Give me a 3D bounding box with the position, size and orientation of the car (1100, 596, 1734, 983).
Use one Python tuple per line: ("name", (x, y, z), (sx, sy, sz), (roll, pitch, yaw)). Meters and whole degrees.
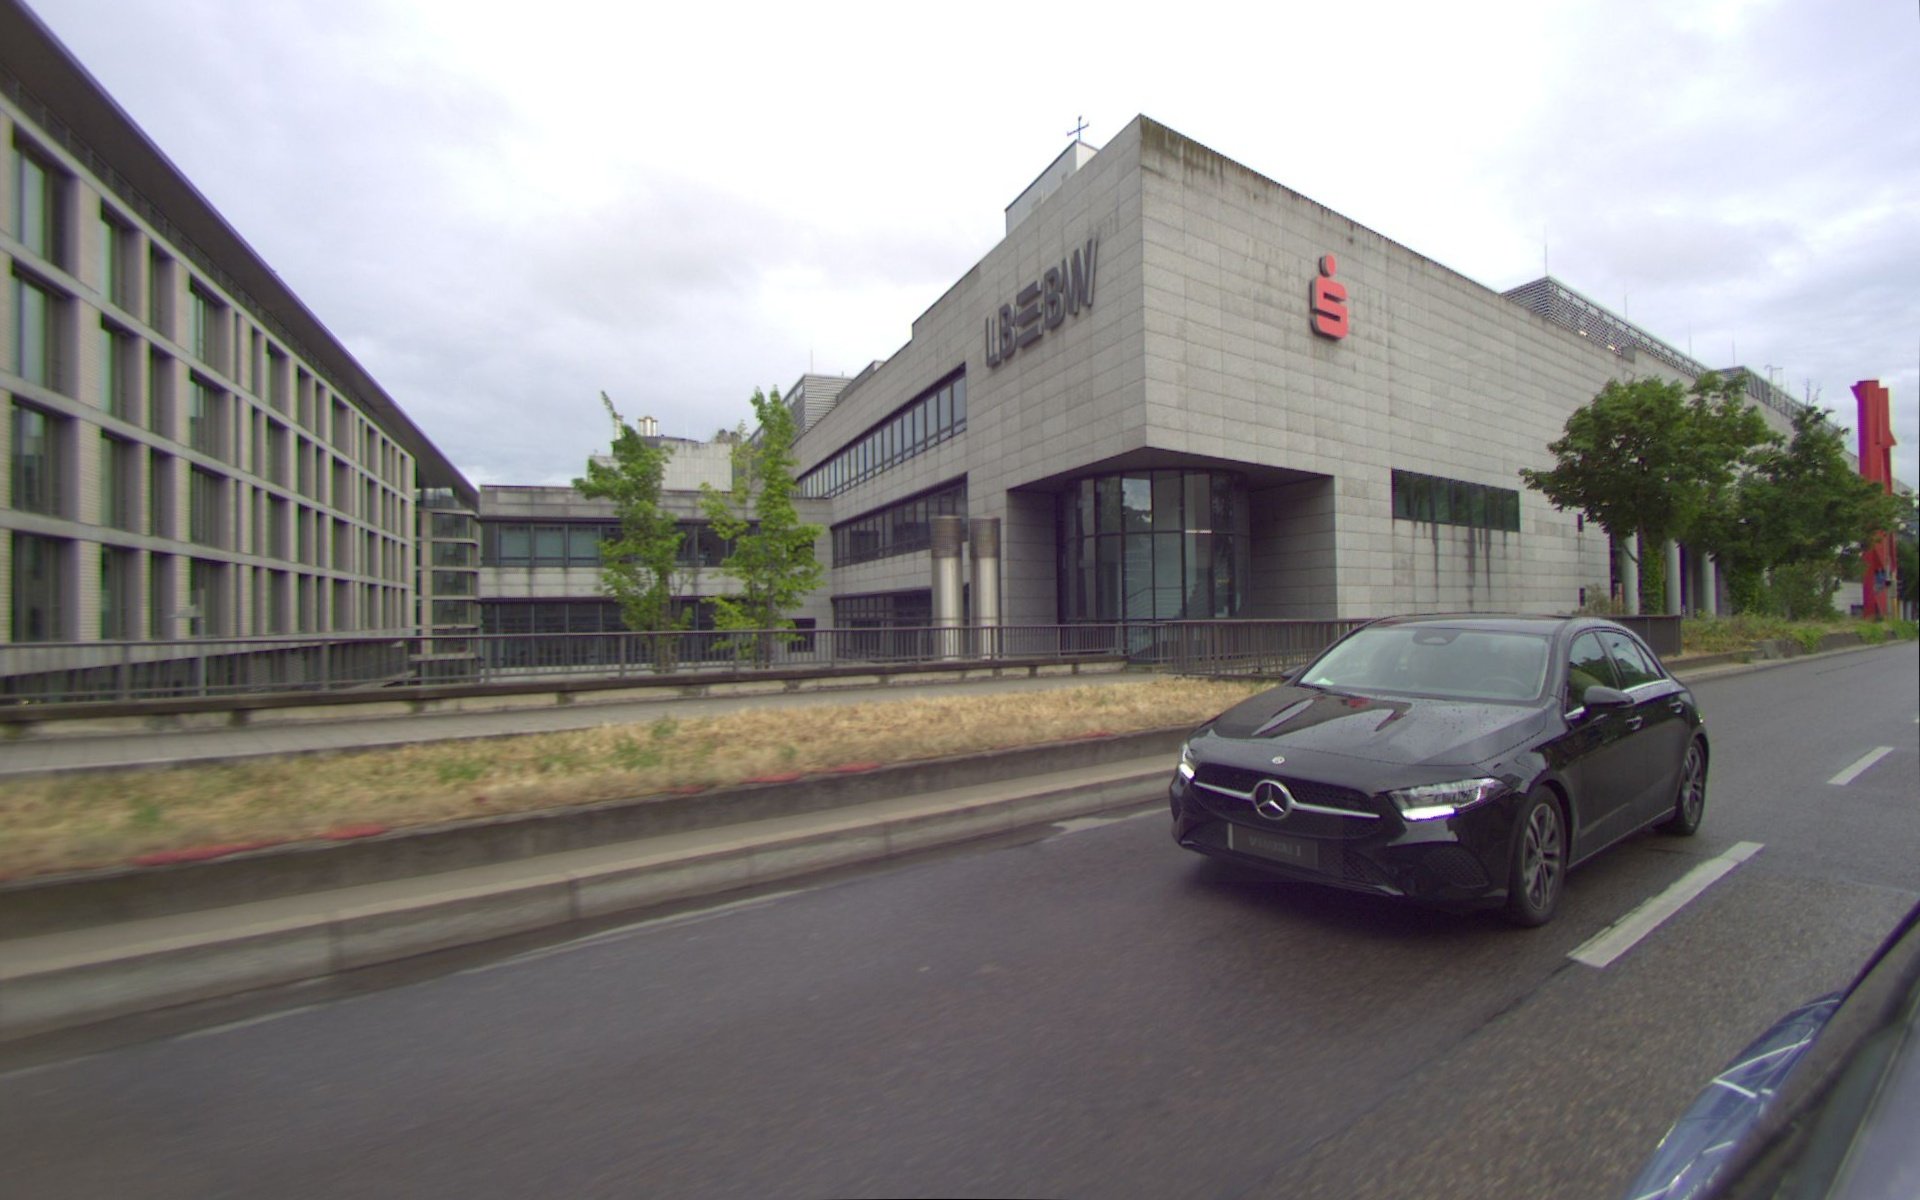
("car", (2.877, 0.713, 5.906), (4.132, 1.455, 1.875), (0, 0, -42))
